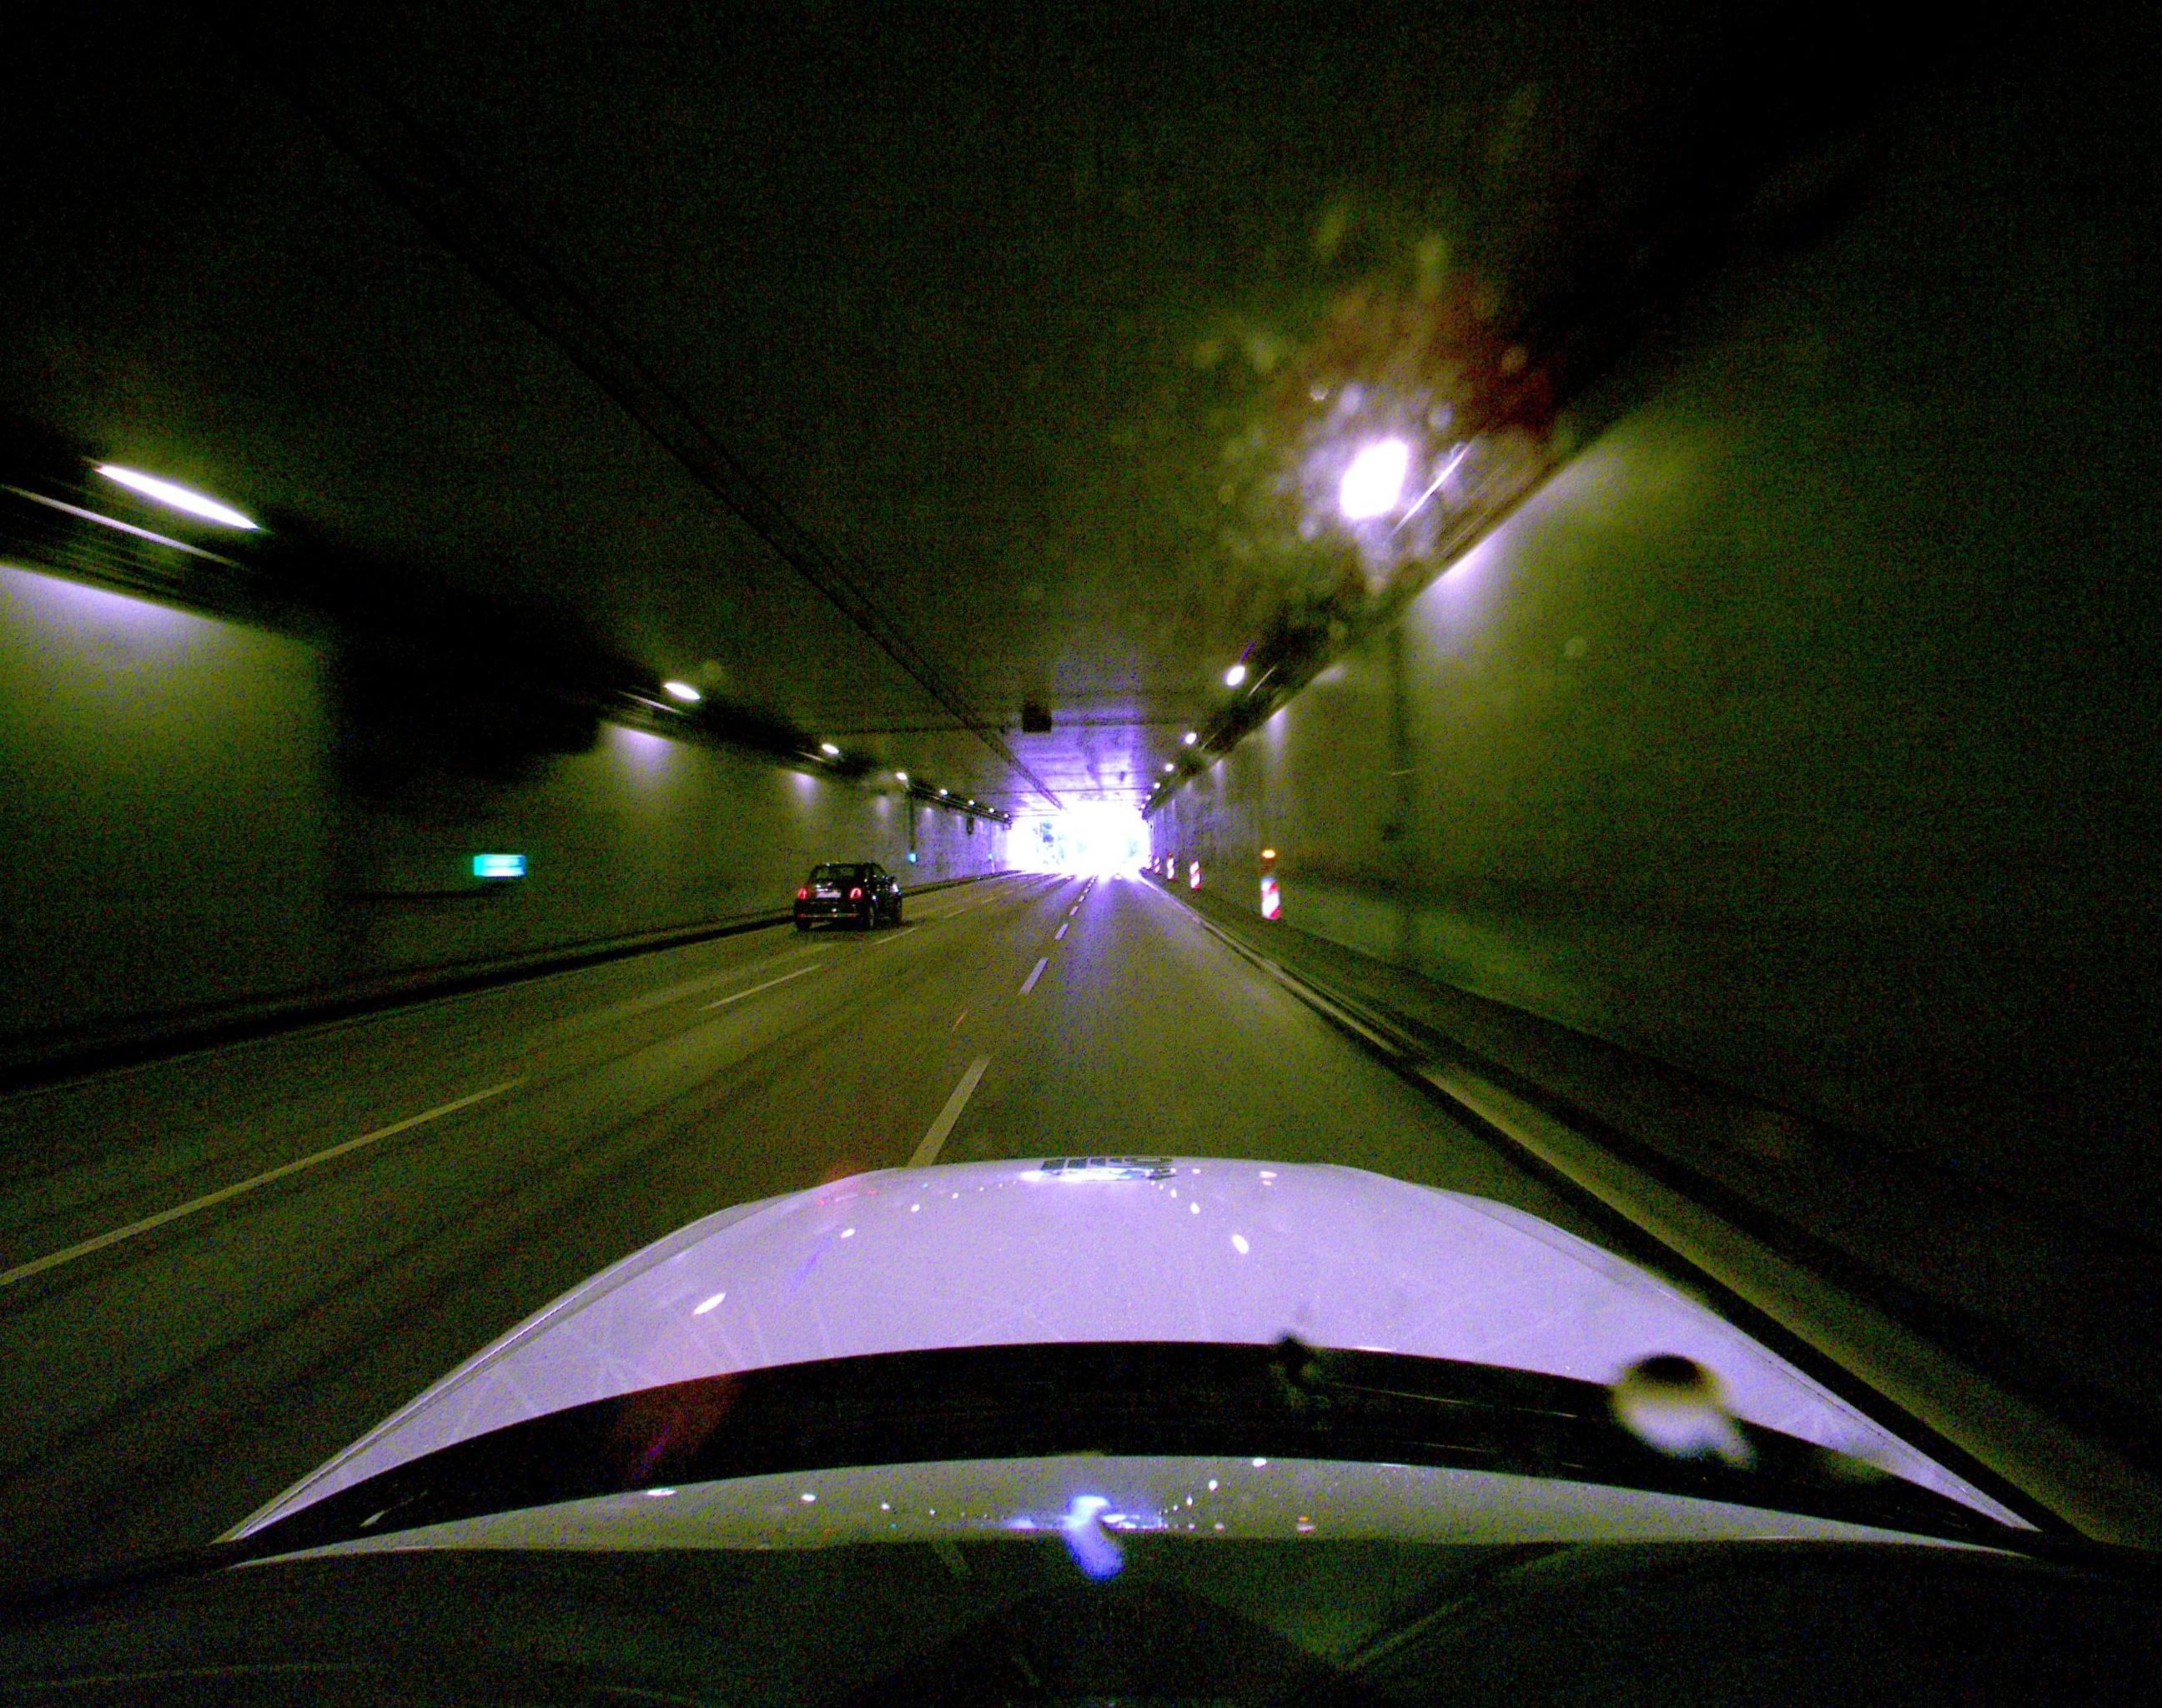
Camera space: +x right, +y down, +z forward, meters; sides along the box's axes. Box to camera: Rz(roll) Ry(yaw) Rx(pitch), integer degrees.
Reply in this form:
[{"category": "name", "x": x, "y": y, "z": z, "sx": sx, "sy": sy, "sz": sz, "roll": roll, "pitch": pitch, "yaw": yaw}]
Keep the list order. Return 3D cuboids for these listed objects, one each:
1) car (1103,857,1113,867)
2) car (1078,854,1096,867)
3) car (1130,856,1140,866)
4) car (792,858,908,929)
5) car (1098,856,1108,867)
[{"category": "car", "x": 5.480, "y": 1.572, "z": 165.547, "sx": 1.986, "sy": 2.014, "sz": 4.000, "roll": -1, "pitch": -1, "yaw": 1}, {"category": "car", "x": 0.681, "y": 0.793, "z": 95.392, "sx": 1.988, "sy": 1.448, "sz": 4.312, "roll": -2, "pitch": 0, "yaw": -1}, {"category": "car", "x": 10.927, "y": 1.364, "z": 165.726, "sx": 1.986, "sy": 2.014, "sz": 4.002, "roll": -1, "pitch": -1, "yaw": 2}, {"category": "car", "x": -5.194, "y": 0.836, "z": 18.741, "sx": 1.607, "sy": 1.454, "sz": 3.572, "roll": 1, "pitch": 0, "yaw": 0}, {"category": "car", "x": 4.264, "y": 1.400, "z": 157.151, "sx": 1.986, "sy": 2.014, "sz": 4.000, "roll": -1, "pitch": -1, "yaw": 1}]
